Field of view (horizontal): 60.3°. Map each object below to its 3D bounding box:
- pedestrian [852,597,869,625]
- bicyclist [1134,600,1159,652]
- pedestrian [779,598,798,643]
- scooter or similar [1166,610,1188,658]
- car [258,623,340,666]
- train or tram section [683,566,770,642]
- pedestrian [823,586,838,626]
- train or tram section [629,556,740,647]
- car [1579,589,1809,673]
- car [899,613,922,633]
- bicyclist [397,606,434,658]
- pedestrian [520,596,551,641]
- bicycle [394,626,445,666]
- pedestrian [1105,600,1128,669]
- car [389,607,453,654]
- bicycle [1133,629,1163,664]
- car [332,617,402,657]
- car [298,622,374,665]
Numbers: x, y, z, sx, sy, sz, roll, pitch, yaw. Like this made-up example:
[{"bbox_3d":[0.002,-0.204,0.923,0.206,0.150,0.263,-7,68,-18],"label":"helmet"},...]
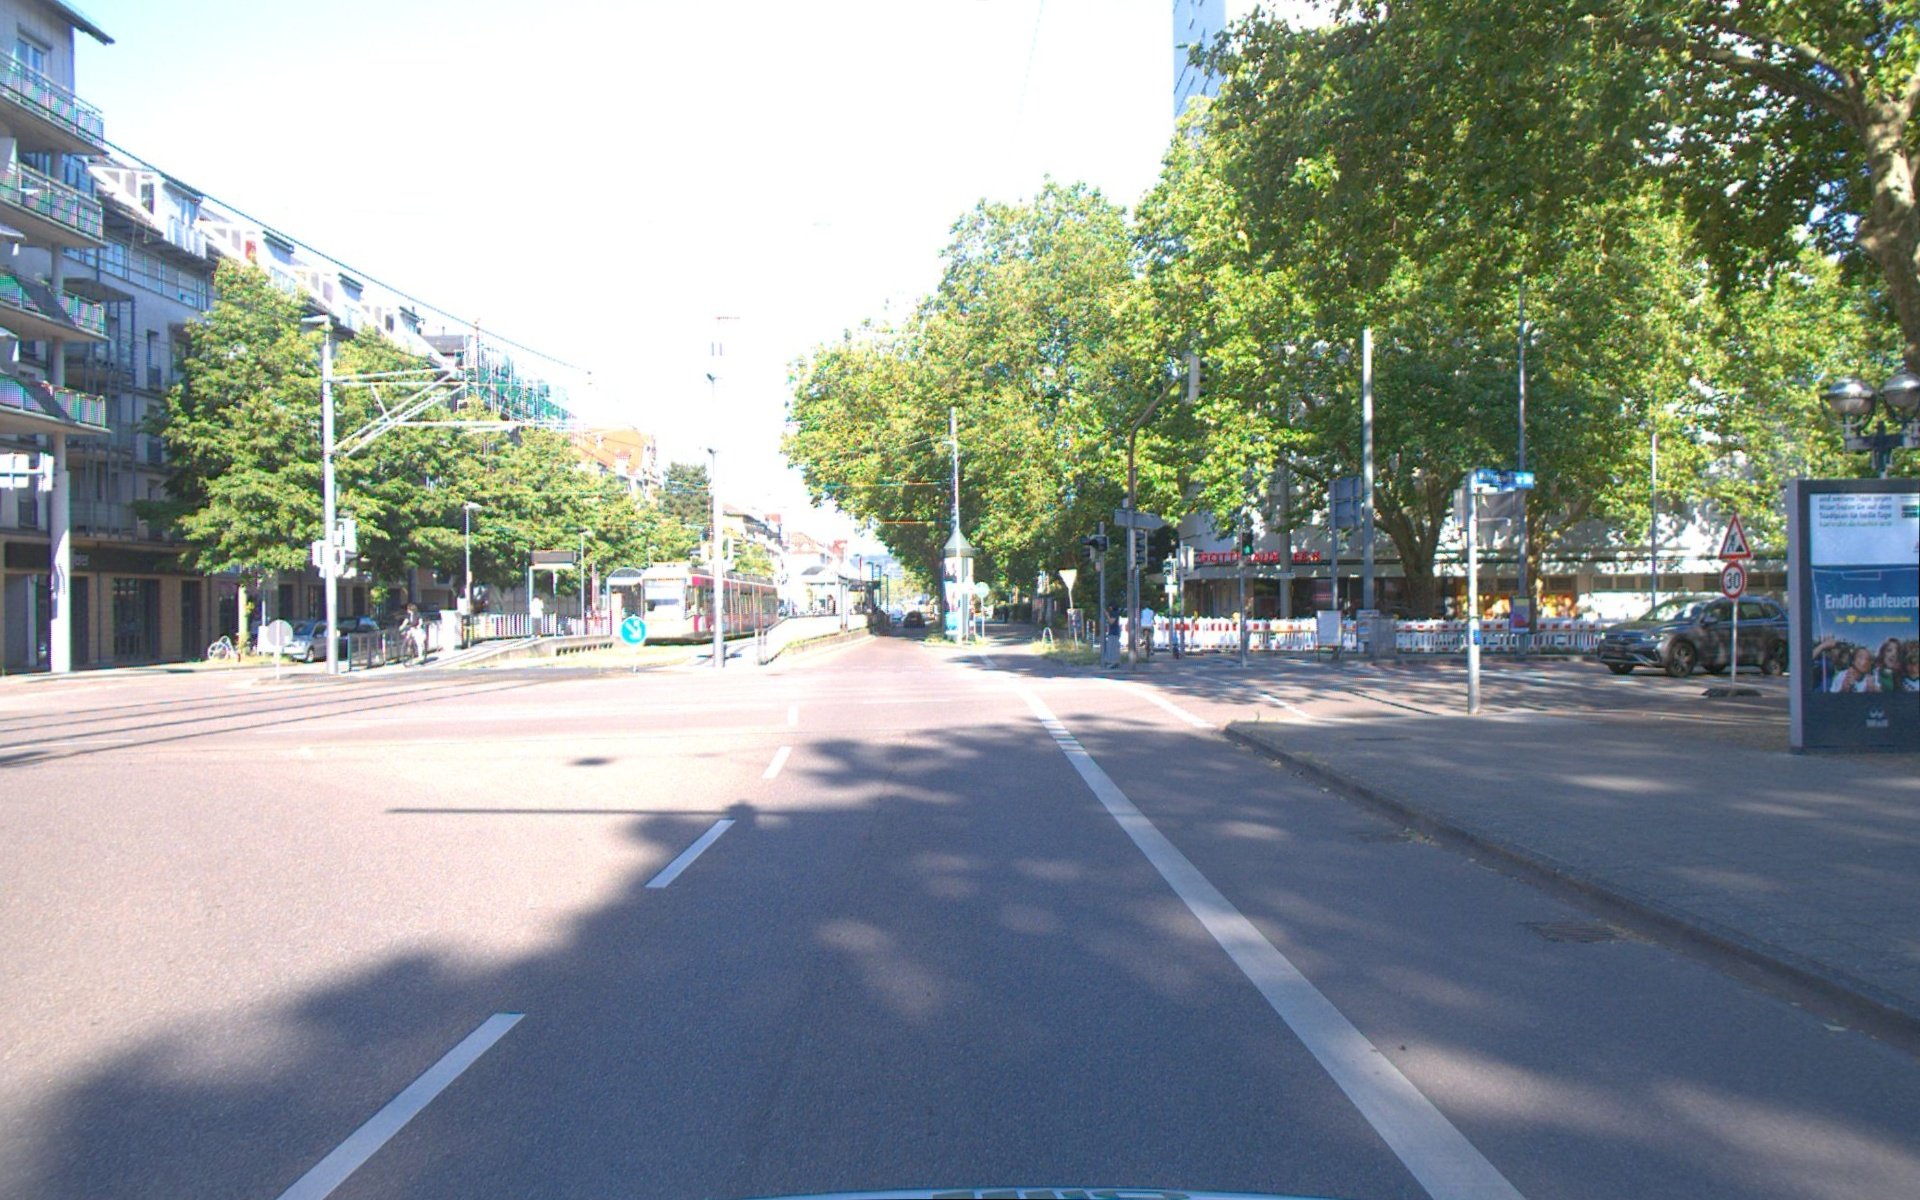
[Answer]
[{"bbox_3d":[-6.308,0.670,104.692,0.900,1.752,0.624,2,-1,-35],"label":"pedestrian"},{"bbox_3d":[5.721,0.786,50.659,0.591,1.578,0.859,-1,-1,-4],"label":"bicyclist"},{"bbox_3d":[-6.392,0.760,61.546,0.617,1.638,0.981,1,-1,-3],"label":"pedestrian"},{"bbox_3d":[6.013,0.940,45.825,0.548,1.279,1.291,-2,-1,7],"label":"scooter or similar"},{"bbox_3d":[-26.081,1.721,65.369,1.769,1.606,3.784,1,-1,-1],"label":"car"},{"bbox_3d":[-12.593,0.263,90.628,2.811,3.750,14.557,-1,-1,-1],"label":"train or tram section"},{"bbox_3d":[-6.363,0.315,81.108,0.656,1.936,0.824,1,-1,-2],"label":"pedestrian"},{"bbox_3d":[-12.412,0.117,76.049,2.811,3.740,14.557,-1,-1,-1],"label":"train or tram section"},{"bbox_3d":[15.567,0.666,35.087,4.503,1.669,1.922,1,-1,-23],"label":"car"},{"bbox_3d":[-4.416,2.067,149.021,1.953,1.713,3.999,1,-1,-1],"label":"car"},{"bbox_3d":[-14.988,0.877,45.522,0.522,1.396,1.020,0,0,10],"label":"bicyclist"},{"bbox_3d":[-15.523,0.666,60.464,0.881,1.608,0.957,1,-1,-3],"label":"pedestrian"},{"bbox_3d":[-14.949,1.261,45.753,0.522,1.072,1.826,0,0,10],"label":"bicycle"},{"bbox_3d":[3.807,0.831,40.238,0.419,1.668,0.612,0,0,-9],"label":"pedestrian"},{"bbox_3d":[-26.404,1.488,81.113,1.901,2.204,3.784,1,-1,-1],"label":"car"},{"bbox_3d":[5.742,1.414,50.518,0.591,1.044,1.765,-1,-1,-4],"label":"bicycle"},{"bbox_3d":[-26.310,1.614,73.461,1.769,1.664,3.784,1,-1,-1],"label":"car"},{"bbox_3d":[-26.198,1.792,69.544,1.769,1.706,3.784,1,-1,-1],"label":"car"}]
